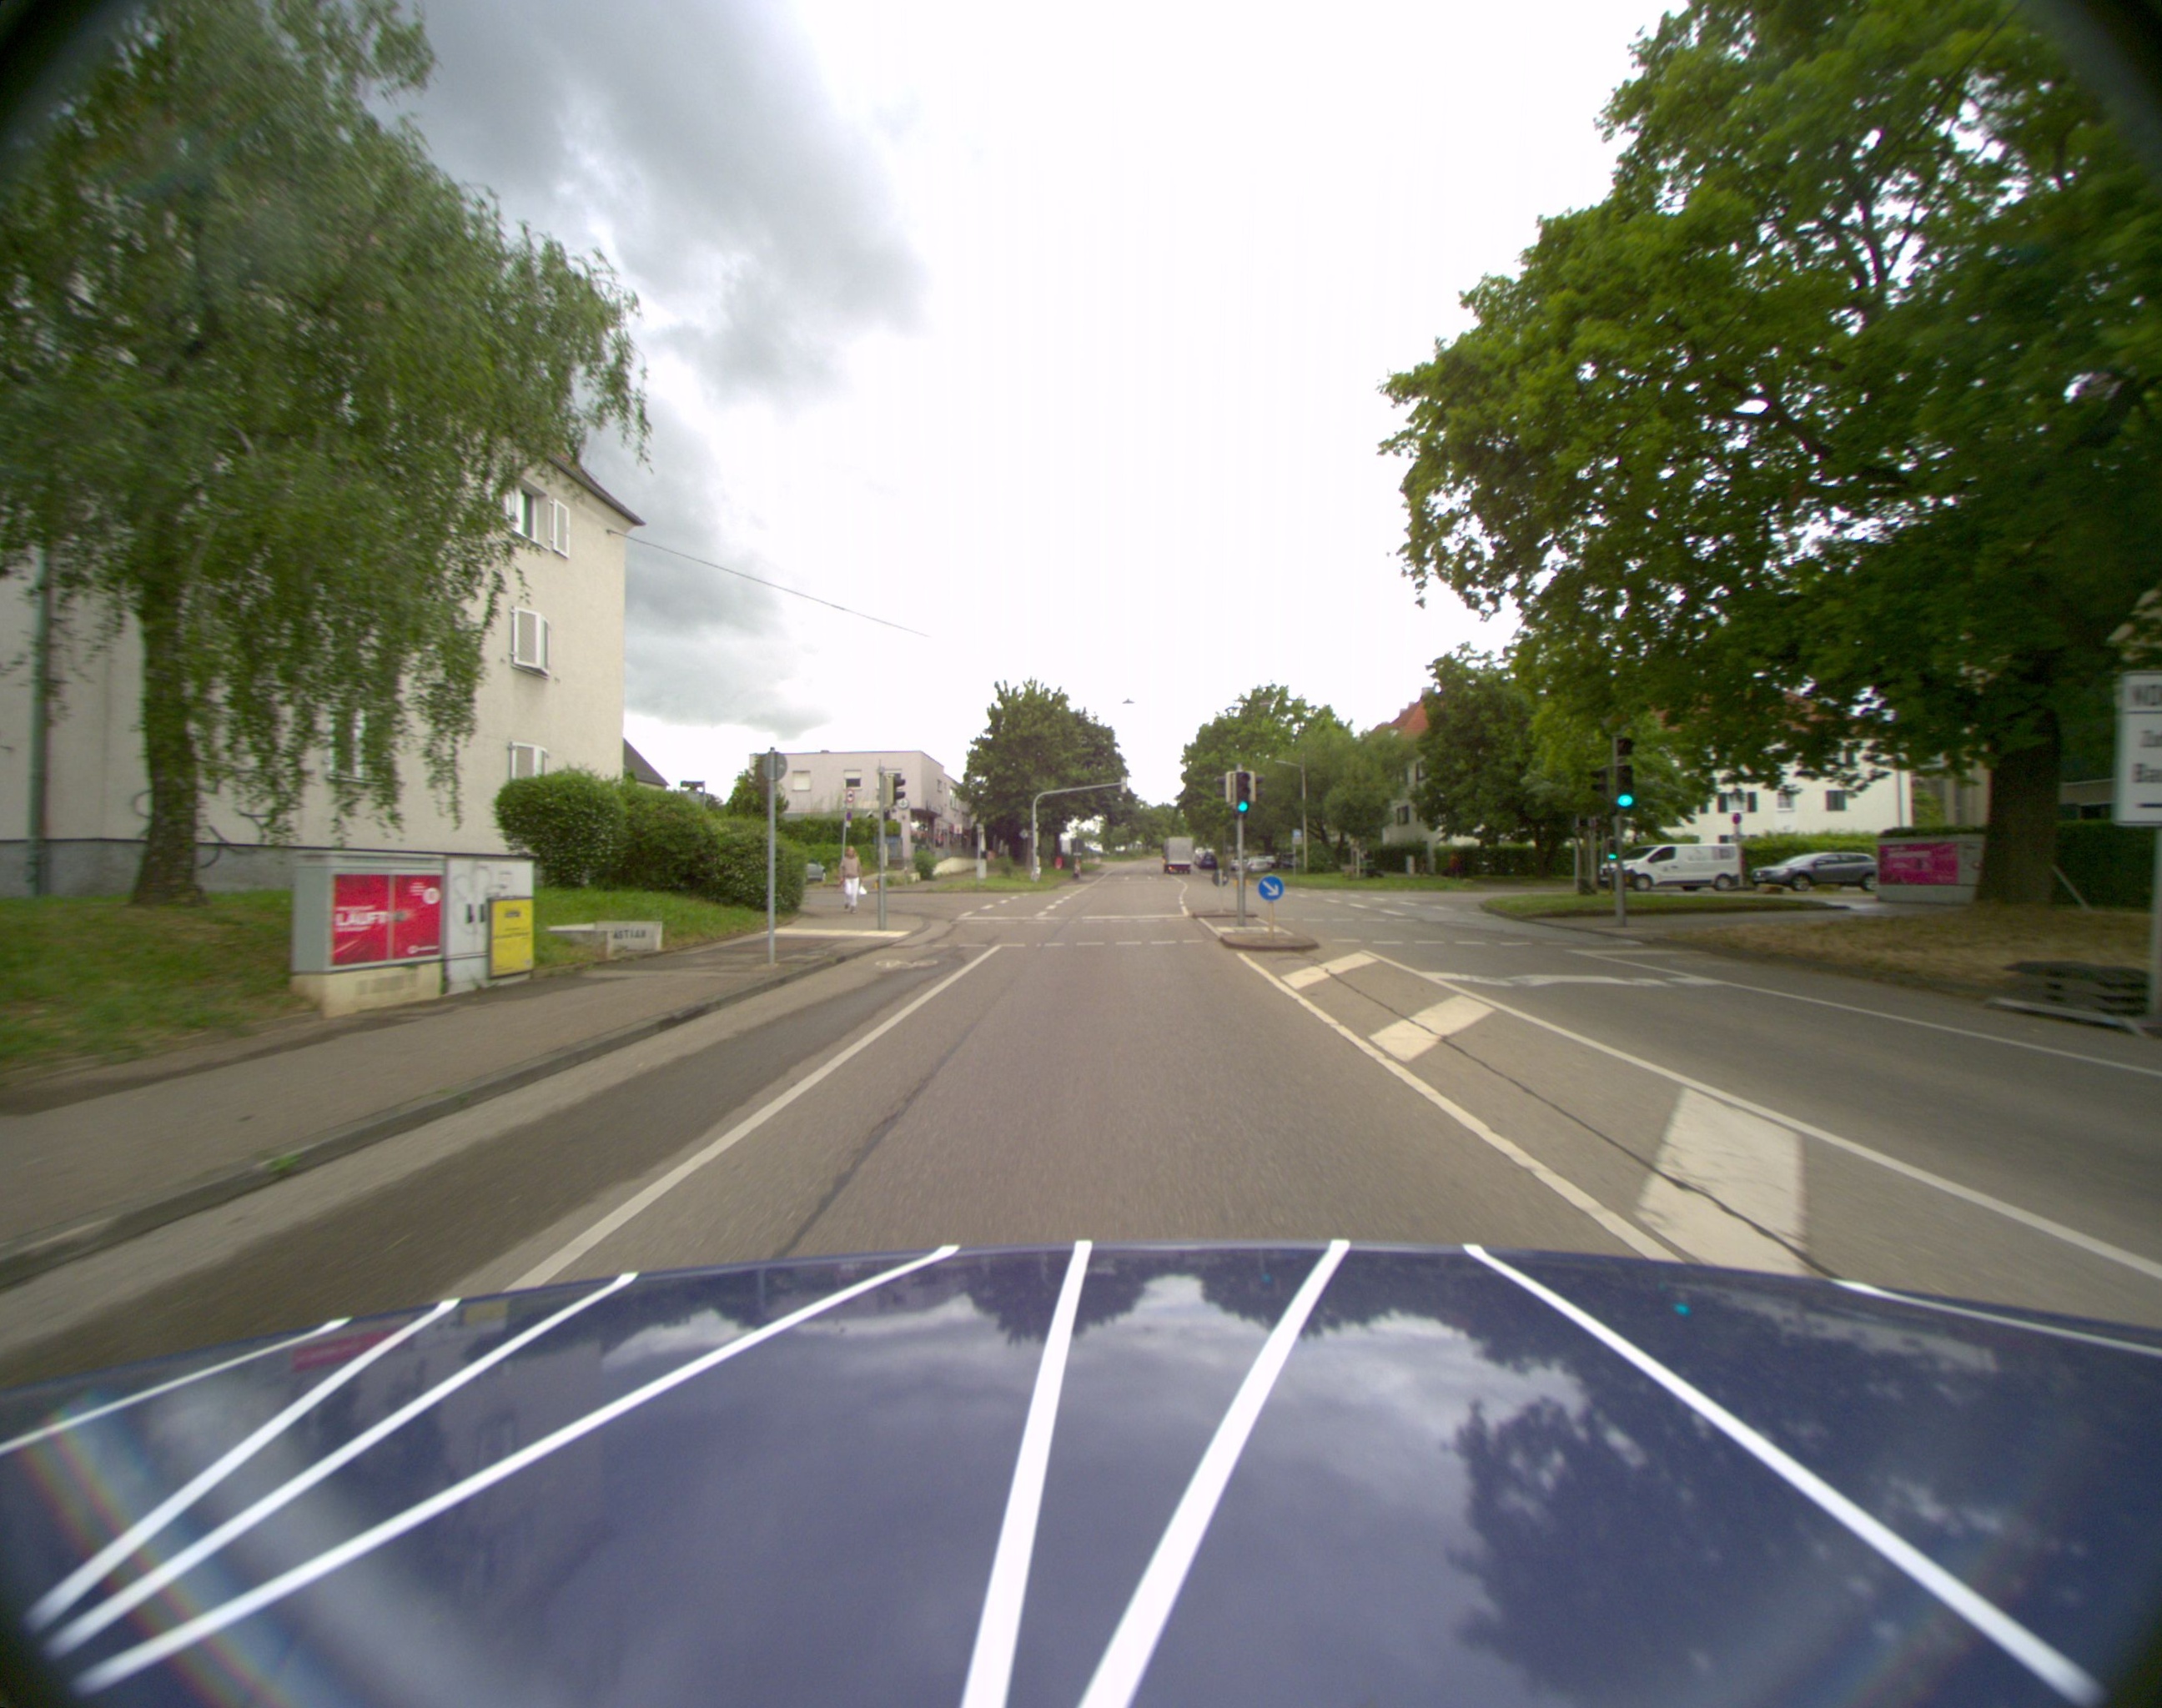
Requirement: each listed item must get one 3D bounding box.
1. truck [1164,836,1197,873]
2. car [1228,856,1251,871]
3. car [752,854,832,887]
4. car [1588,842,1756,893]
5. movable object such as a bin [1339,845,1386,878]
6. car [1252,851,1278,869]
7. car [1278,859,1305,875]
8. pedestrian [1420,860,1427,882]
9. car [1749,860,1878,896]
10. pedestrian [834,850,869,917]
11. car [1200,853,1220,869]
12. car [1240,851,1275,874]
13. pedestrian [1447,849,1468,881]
[{"bbox_3d":[9.105,0.021,70.024,2.371,3.218,7.217,0,0,2],"label":"truck"},{"bbox_3d":[15.397,0.948,73.976,1.604,1.346,4.001,-1,0,5],"label":"car"},{"bbox_3d":[-13.934,0.752,36.937,1.998,1.455,4.612,-1,0,2],"label":"car"},{"bbox_3d":[24.023,0.544,31.040,5.151,1.906,2.000,-1,0,3],"label":"car"},{"bbox_3d":[16.838,0.455,45.593,1.099,1.892,3.247,-2,0,-11],"label":"movable object such as a bin"},{"bbox_3d":[17.758,0.536,73.427,1.860,1.596,4.001,-2,0,5],"label":"car"},{"bbox_3d":[19.963,1.184,72.138,1.679,1.422,3.873,-1,0,4],"label":"car"},{"bbox_3d":[19.595,0.959,43.435,0.358,1.264,0.360,0,1,26],"label":"pedestrian"},{"bbox_3d":[29.375,0.939,30.551,3.535,1.305,1.539,-1,0,5],"label":"car"},{"bbox_3d":[-5.868,0.745,19.444,0.658,1.675,0.575,1,-1,4],"label":"pedestrian"},{"bbox_3d":[14.286,0.796,84.325,1.997,1.674,4.002,-1,0,9],"label":"car"},{"bbox_3d":[14.136,0.652,61.163,1.998,1.666,4.547,-1,0,4],"label":"car"},{"bbox_3d":[21.182,0.622,42.766,0.778,1.746,0.688,-2,1,-28],"label":"pedestrian"}]
